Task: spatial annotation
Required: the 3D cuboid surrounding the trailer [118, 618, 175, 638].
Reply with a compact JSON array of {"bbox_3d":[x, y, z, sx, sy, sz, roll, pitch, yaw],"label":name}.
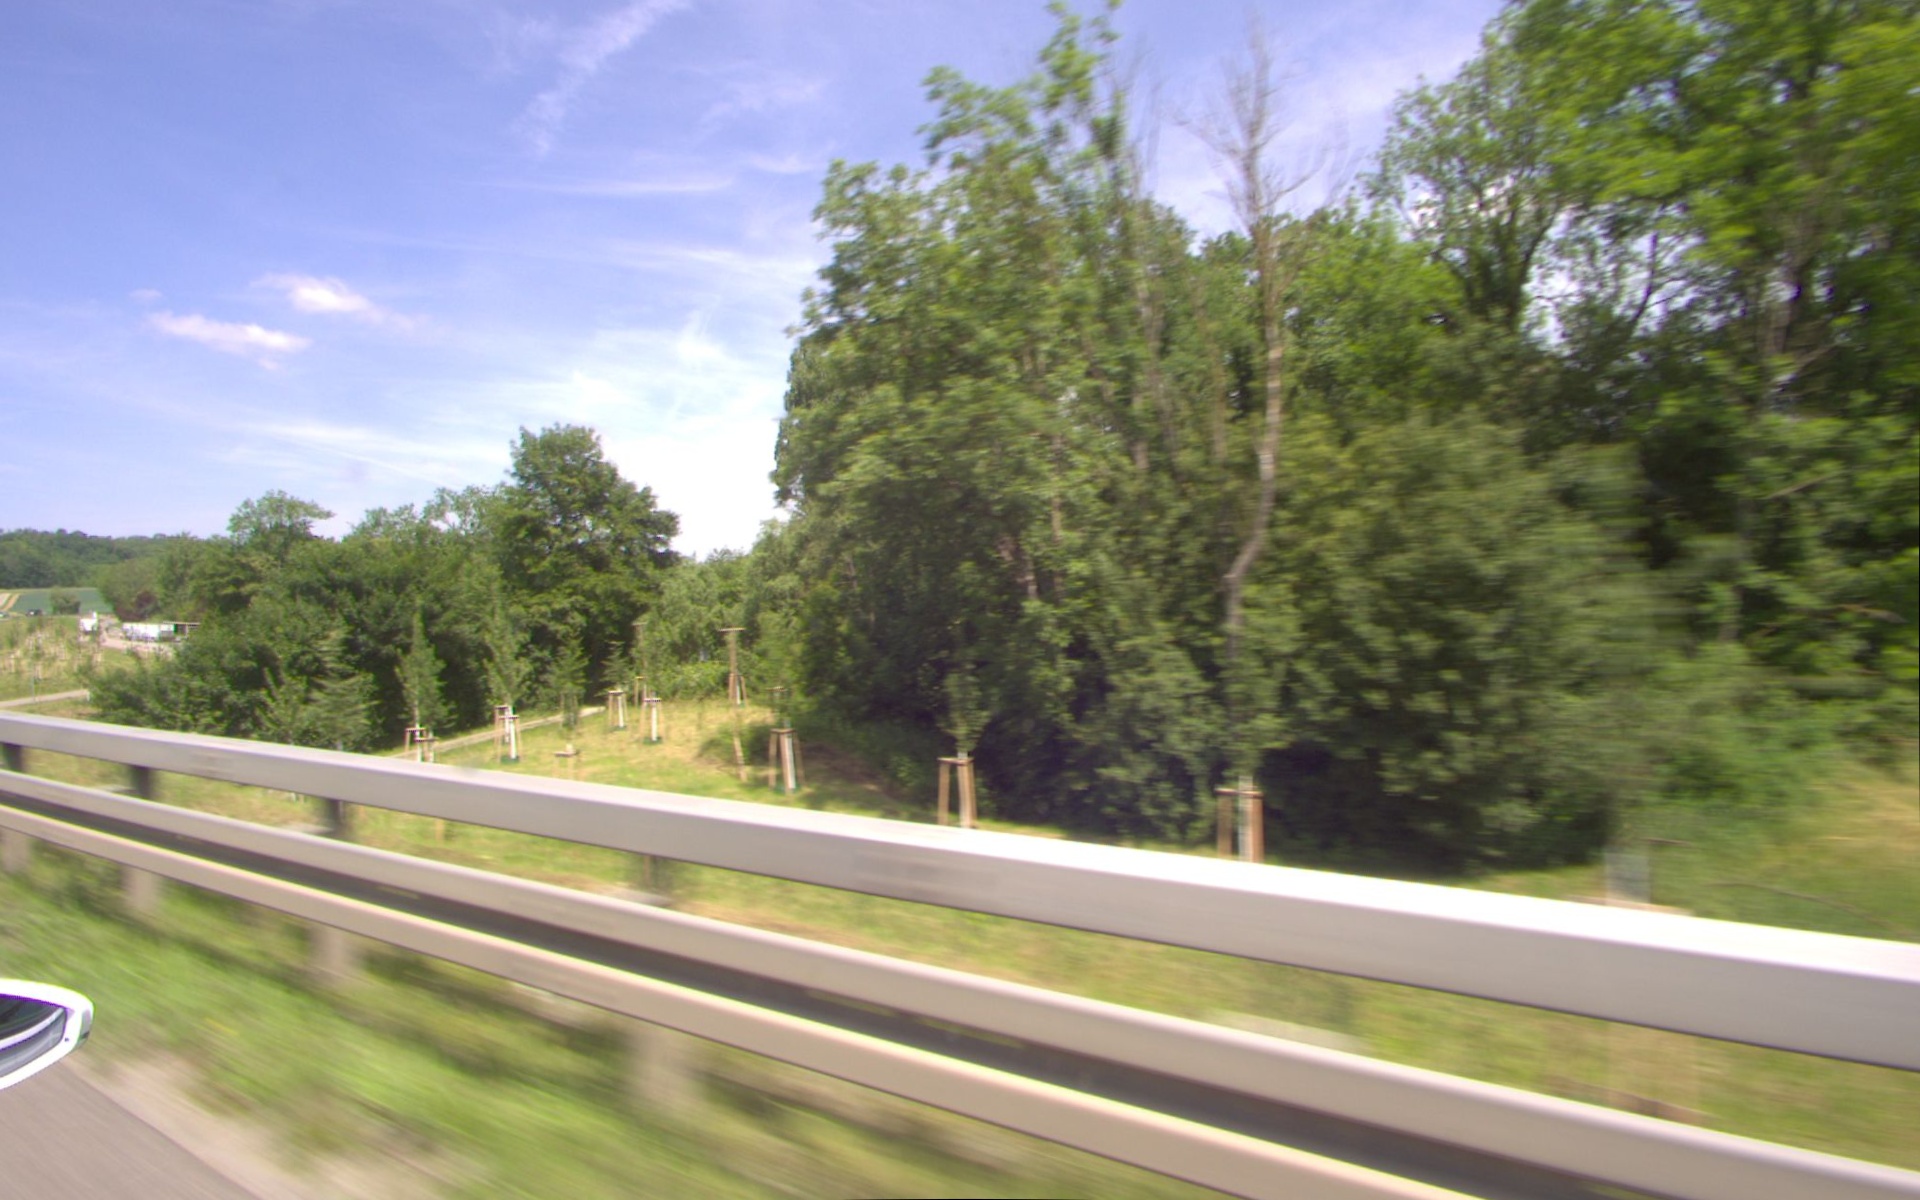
[{"bbox_3d":[-148.732,5.043,183.079,11.690,3.371,2.721,1,0,22],"label":"trailer"}]
